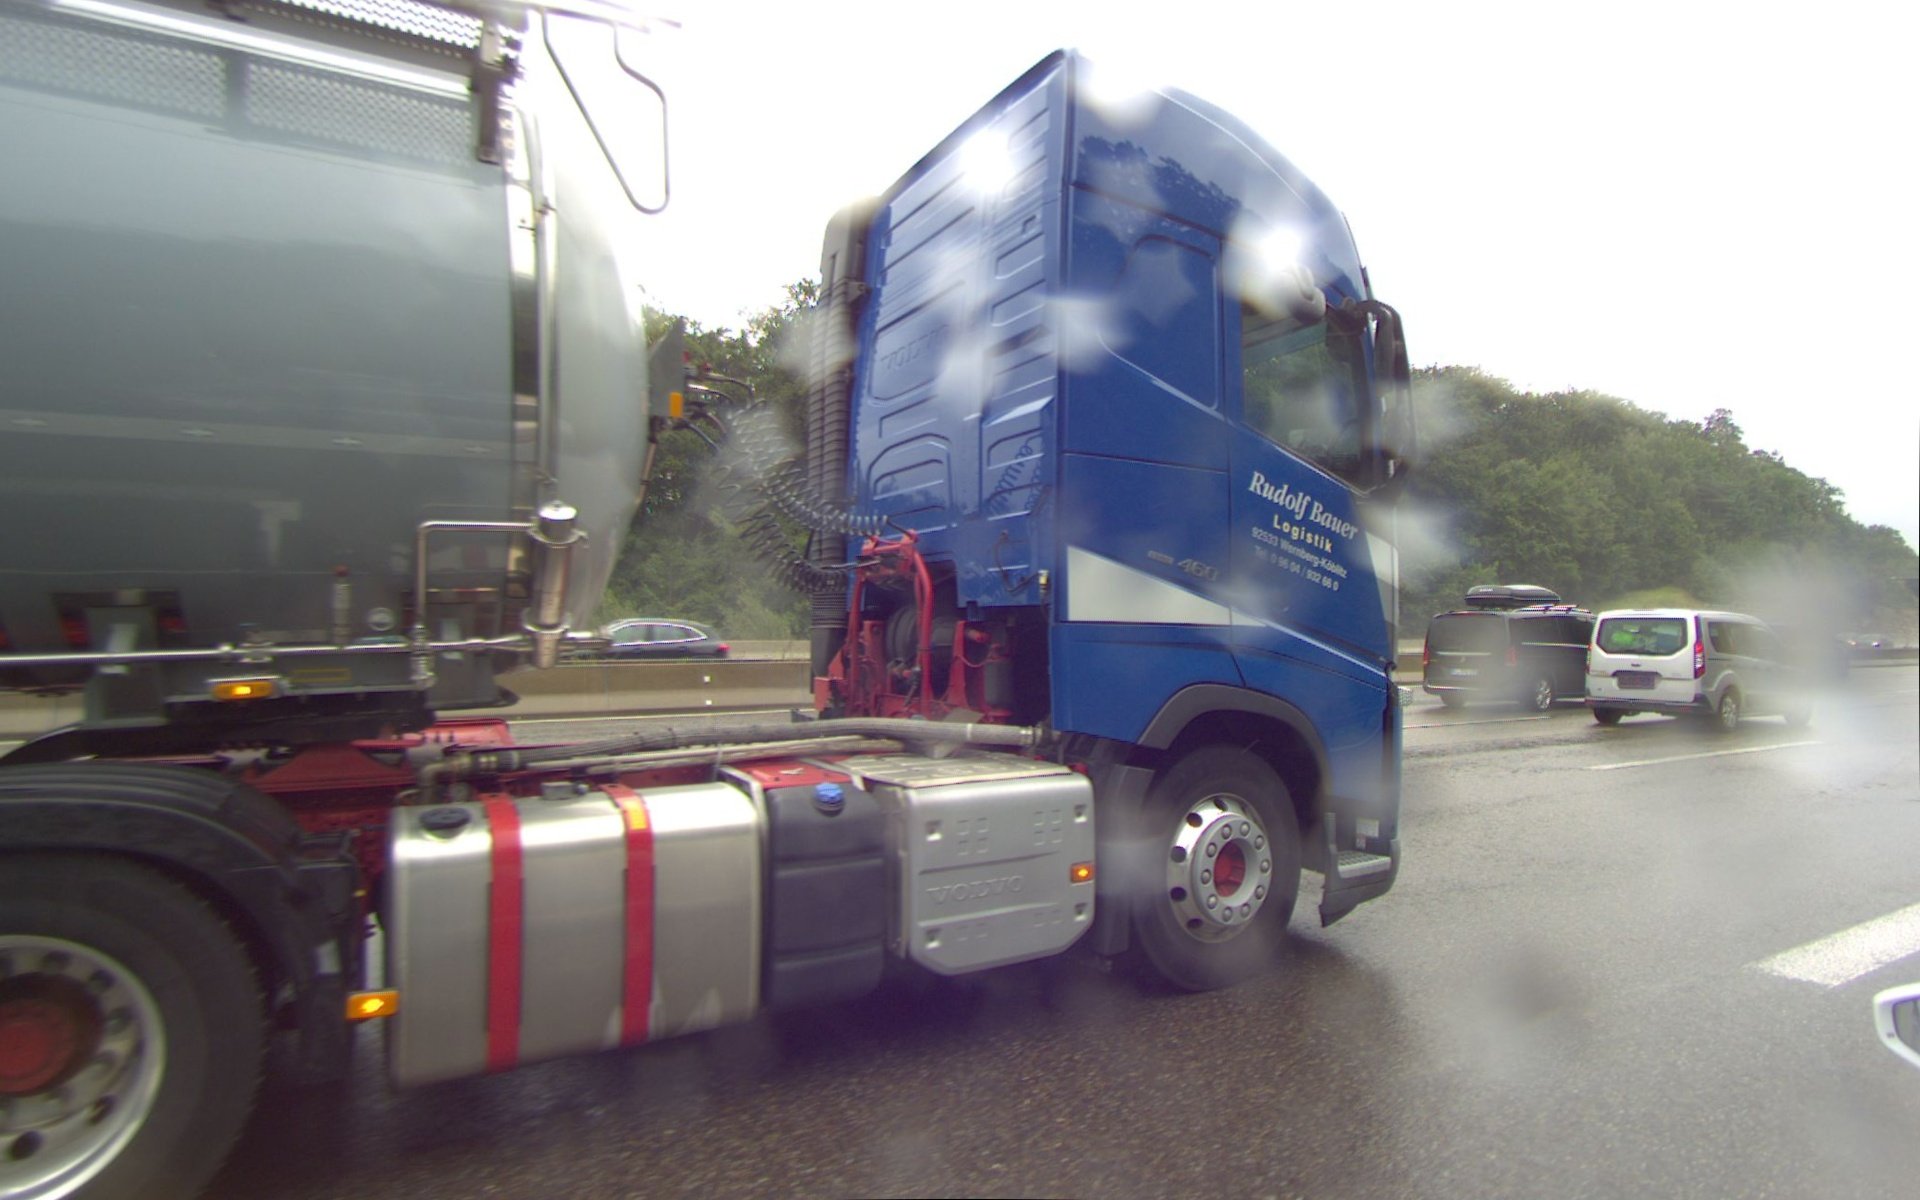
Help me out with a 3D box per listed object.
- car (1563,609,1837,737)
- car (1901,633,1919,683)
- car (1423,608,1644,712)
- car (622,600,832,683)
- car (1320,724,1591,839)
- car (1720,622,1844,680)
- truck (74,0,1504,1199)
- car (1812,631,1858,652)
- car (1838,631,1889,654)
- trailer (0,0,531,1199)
[{"bbox_3d":[11.780,1.080,15.937,4.512,1.774,1.837,1,-2,-30],"label":"car"},{"bbox_3d":[37.104,2.260,37.434,3.953,1.770,1.777,3,1,-30],"label":"car"},{"bbox_3d":[11.204,1.109,19.574,4.105,1.822,1.984,1,-1,-30],"label":"car"},{"bbox_3d":[-5.166,0.896,22.362,4.157,1.679,1.984,1,-1,-30],"label":"car"},{"bbox_3d":[8.913,3.145,18.019,4.700,1.542,1.921,2,-1,-27],"label":"car"},{"bbox_3d":[28.103,1.695,34.320,4.534,1.856,1.918,1,-1,-31],"label":"car"},{"bbox_3d":[-0.357,-0.366,4.600,4.997,3.742,2.863,1,-1,-30],"label":"truck"},{"bbox_3d":[77.471,3.656,88.923,3.954,1.808,1.983,1,-1,-31],"label":"car"},{"bbox_3d":[71.820,3.357,79.835,3.955,1.731,1.983,1,-1,-32],"label":"car"},{"bbox_3d":[-6.065,-0.300,1.179,9.961,3.332,2.859,1,-1,-31],"label":"trailer"}]
